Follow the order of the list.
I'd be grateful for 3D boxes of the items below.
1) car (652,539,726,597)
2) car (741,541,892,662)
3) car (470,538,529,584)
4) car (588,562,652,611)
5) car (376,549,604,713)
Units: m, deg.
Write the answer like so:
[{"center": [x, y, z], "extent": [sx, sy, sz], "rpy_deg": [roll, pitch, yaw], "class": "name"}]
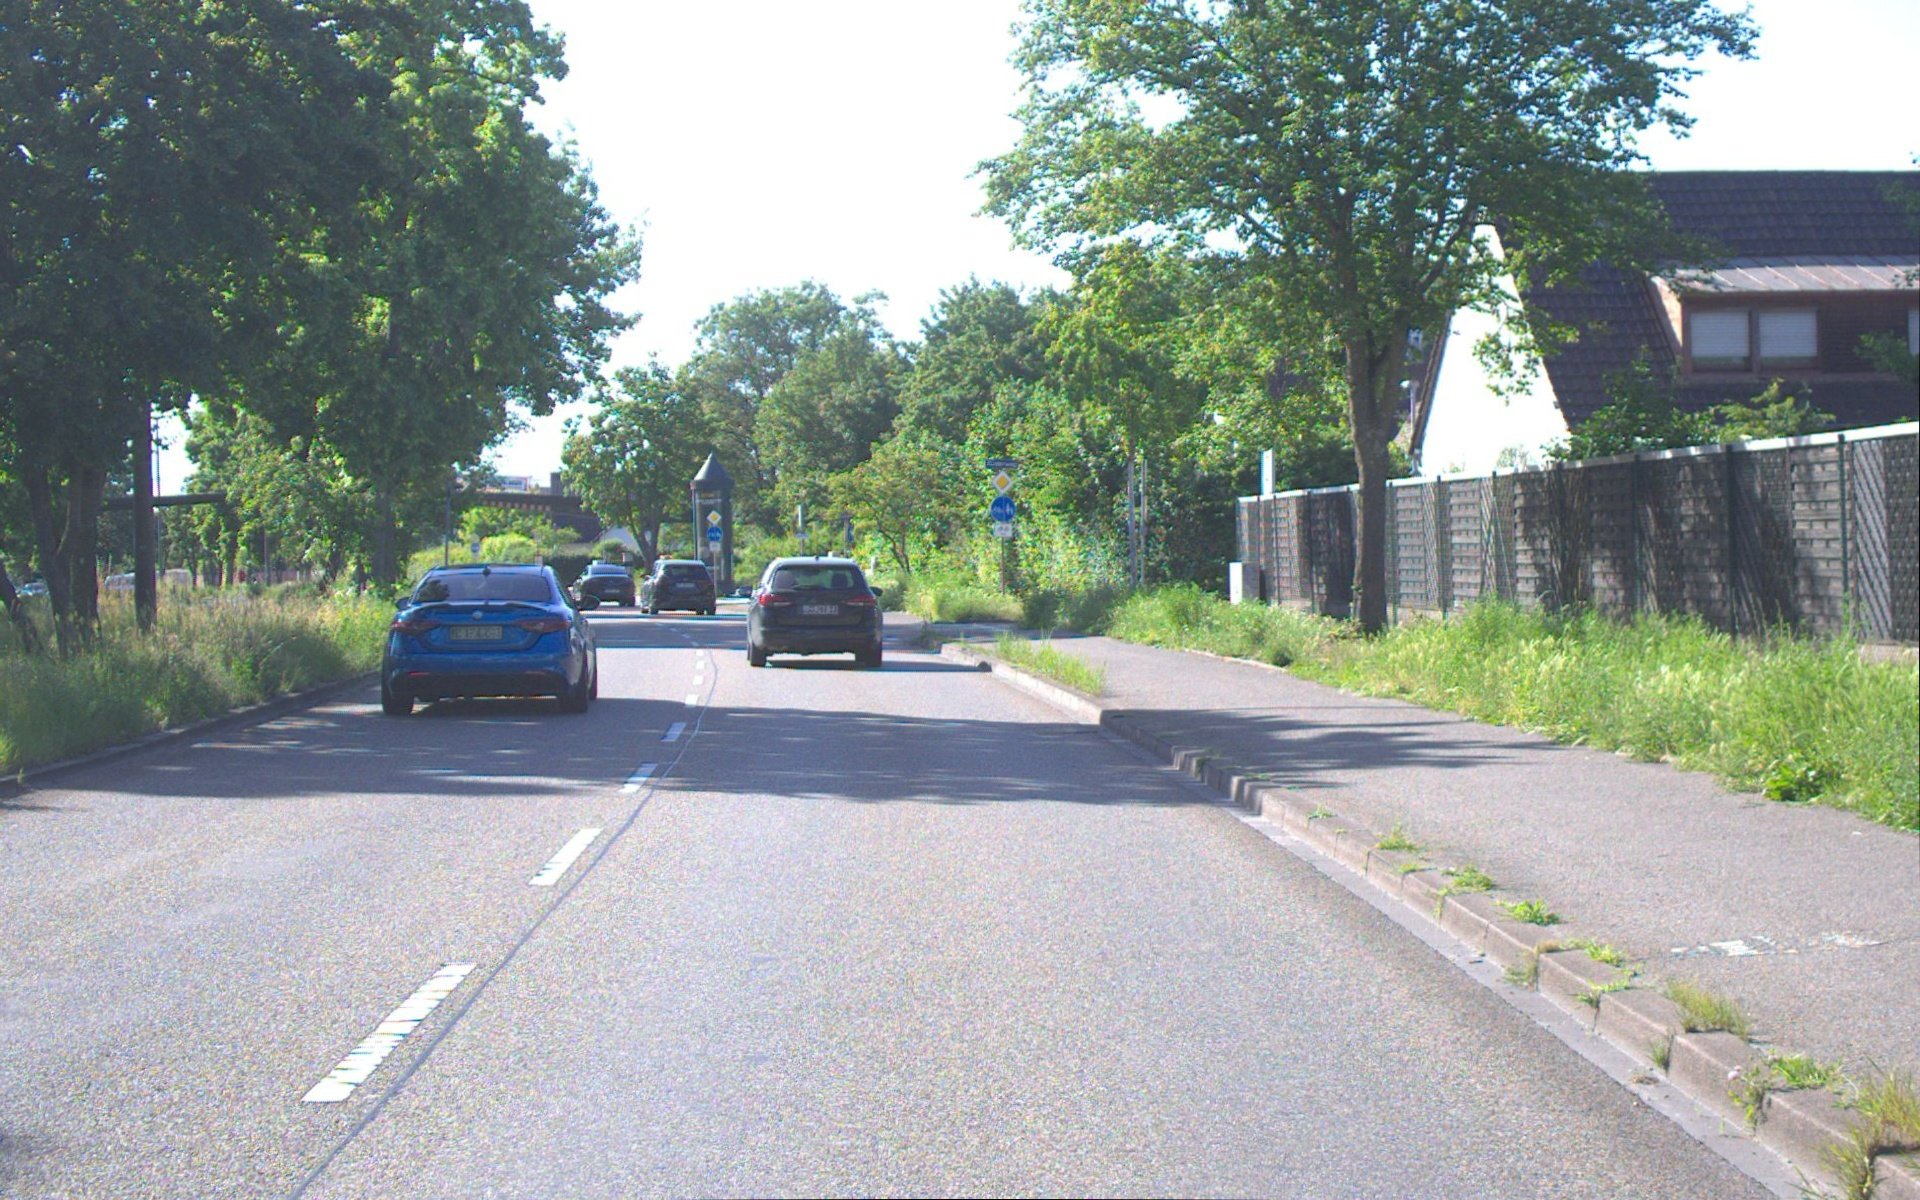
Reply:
[{"center": [-7.507, -0.897, 94.920], "extent": [1.915, 1.574, 4.183], "rpy_deg": [0, 1, -6], "class": "car"}, {"center": [-2.014, -0.018, 47.219], "extent": [1.915, 1.574, 4.183], "rpy_deg": [0, 1, -4], "class": "car"}, {"center": [-15.560, -1.336, 116.040], "extent": [1.915, 1.507, 4.069], "rpy_deg": [-1, 1, -8], "class": "car"}, {"center": [-11.777, -0.483, 118.815], "extent": [1.915, 1.672, 4.013], "rpy_deg": [0, 1, -10], "class": "car"}, {"center": [-4.476, 0.269, 33.259], "extent": [1.838, 1.469, 4.185], "rpy_deg": [-1, 0, -3], "class": "car"}]
